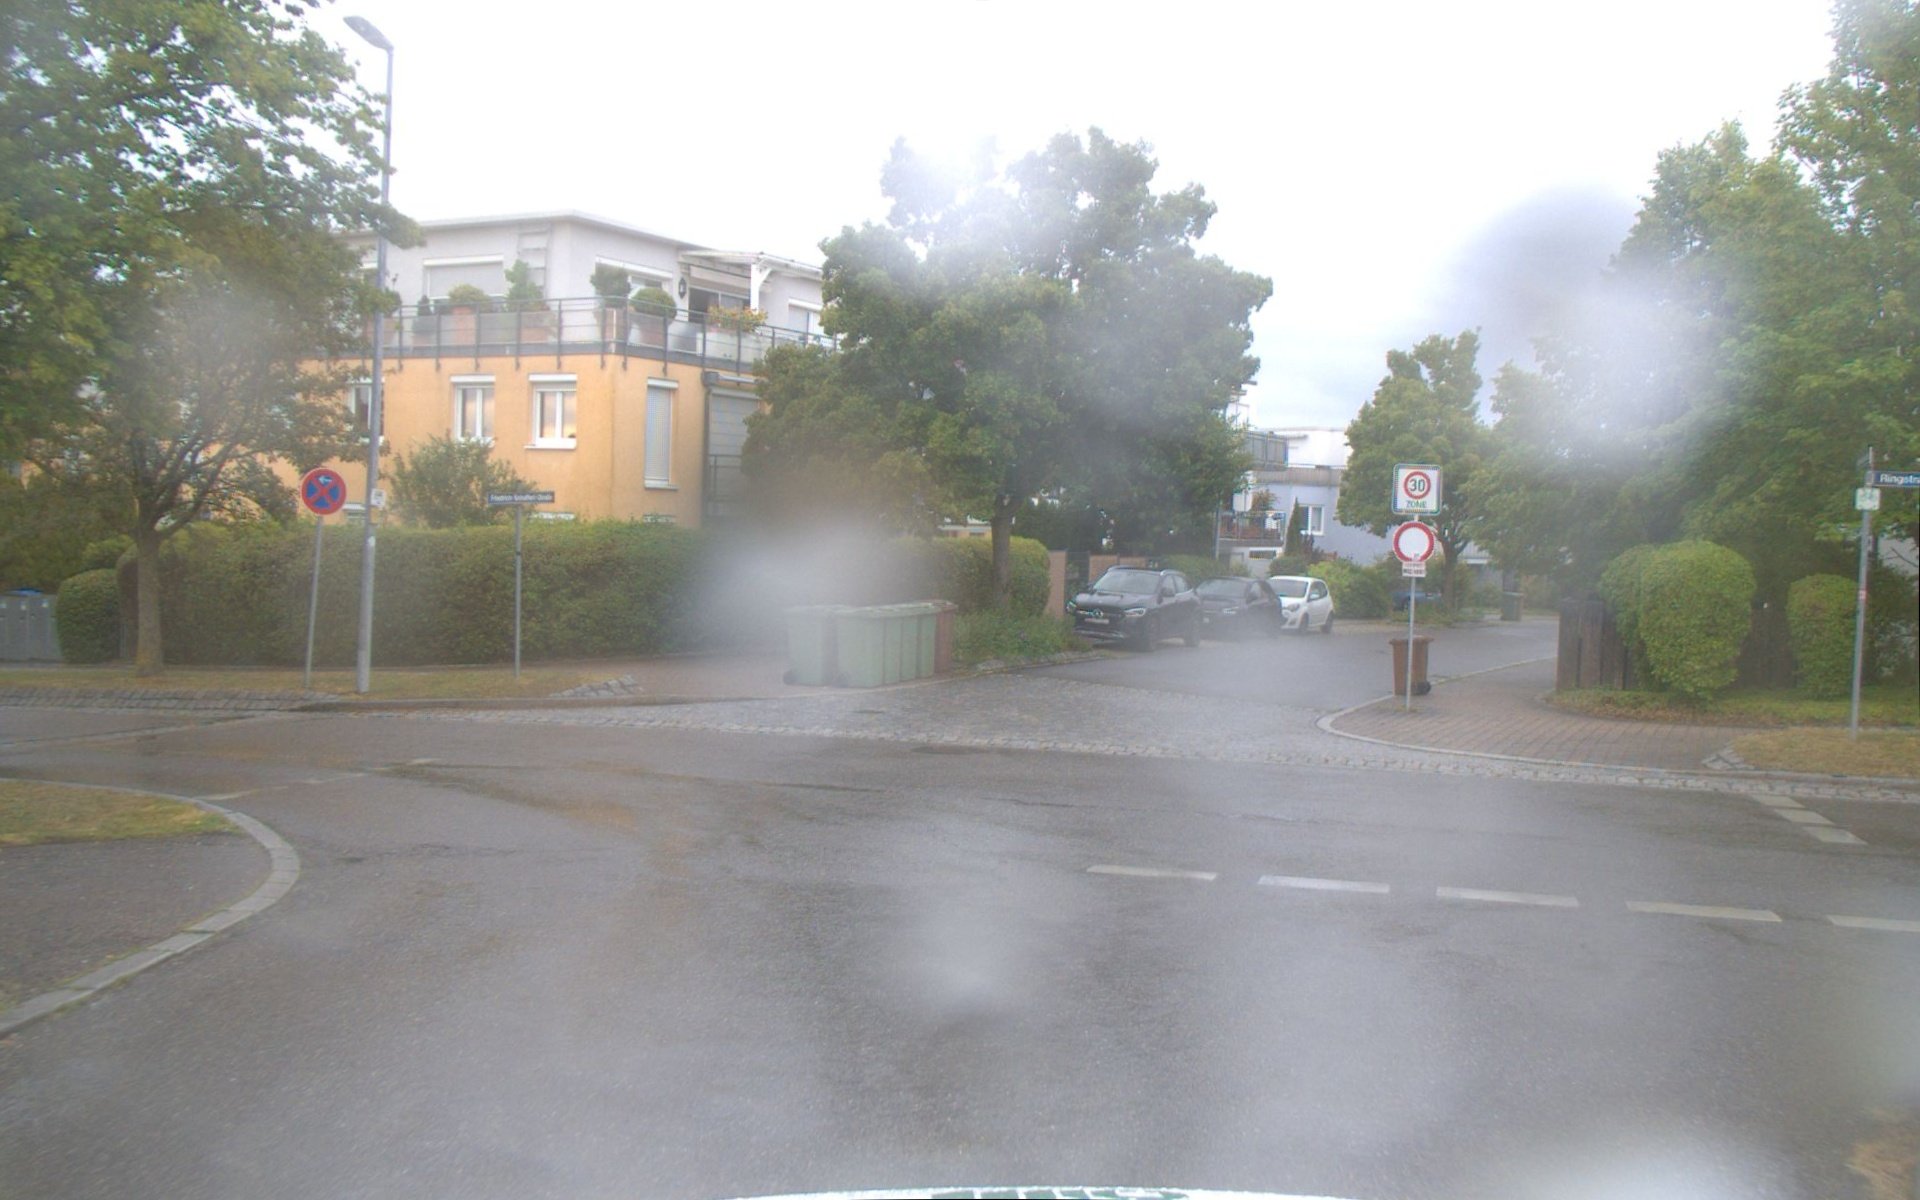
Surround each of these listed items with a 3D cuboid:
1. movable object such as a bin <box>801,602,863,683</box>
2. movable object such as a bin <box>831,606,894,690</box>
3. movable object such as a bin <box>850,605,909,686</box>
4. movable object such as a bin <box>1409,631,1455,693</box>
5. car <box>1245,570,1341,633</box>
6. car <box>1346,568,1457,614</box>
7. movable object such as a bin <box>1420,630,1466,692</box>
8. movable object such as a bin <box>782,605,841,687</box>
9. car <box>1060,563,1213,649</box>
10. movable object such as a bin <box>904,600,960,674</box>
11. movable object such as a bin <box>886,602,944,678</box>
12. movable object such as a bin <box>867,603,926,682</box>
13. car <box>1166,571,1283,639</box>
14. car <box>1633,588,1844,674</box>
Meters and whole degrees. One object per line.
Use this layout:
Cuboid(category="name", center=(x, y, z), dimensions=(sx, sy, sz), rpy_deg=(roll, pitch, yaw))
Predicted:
Cuboid(category="movable object such as a bin", center=(-1.826, 0.599, 23.633), dimensions=(0.680, 1.091, 0.598), rpy_deg=(2, 2, 19))
Cuboid(category="movable object such as a bin", center=(-1.344, 0.653, 22.831), dimensions=(0.680, 1.093, 0.602), rpy_deg=(2, 2, 19))
Cuboid(category="movable object such as a bin", center=(-1.139, 0.632, 23.410), dimensions=(0.680, 1.093, 0.544), rpy_deg=(2, 2, 19))
Cuboid(category="movable object such as a bin", center=(7.592, 0.991, 26.593), dimensions=(0.560, 0.947, 0.529), rpy_deg=(3, 1, 32))
Cuboid(category="car", center=(8.873, 0.021, 43.942), dimensions=(1.483, 1.502, 3.268), rpy_deg=(5, 3, 29))
Cuboid(category="car", center=(17.191, -0.360, 64.412), dimensions=(3.907, 1.595, 1.908), rpy_deg=(3, 1, 24))
Cuboid(category="movable object such as a bin", center=(7.902, 0.991, 27.063), dimensions=(0.560, 0.947, 0.529), rpy_deg=(3, 1, 32))
Cuboid(category="movable object such as a bin", center=(-2.069, 0.635, 23.064), dimensions=(0.651, 1.092, 0.544), rpy_deg=(2, 2, 20))
Cuboid(category="car", center=(3.707, 0.085, 34.201), dimensions=(1.741, 1.544, 4.133), rpy_deg=(5, 3, 26))
Cuboid(category="movable object such as a bin", center=(-0.422, 0.553, 25.288), dimensions=(0.680, 1.073, 0.605), rpy_deg=(2, 2, 19))
Cuboid(category="movable object such as a bin", center=(-0.664, 0.585, 24.535), dimensions=(0.680, 1.073, 0.605), rpy_deg=(2, 2, 19))
Cuboid(category="movable object such as a bin", center=(-0.916, 0.606, 23.966), dimensions=(0.680, 1.085, 0.579), rpy_deg=(2, 2, 19))
Cuboid(category="car", center=(6.361, 0.085, 39.558), dimensions=(1.604, 1.433, 3.599), rpy_deg=(5, 3, 28))
Cuboid(category="car", center=(16.892, 0.628, 35.950), dimensions=(3.918, 1.692, 1.774), rpy_deg=(1, 2, 35))
